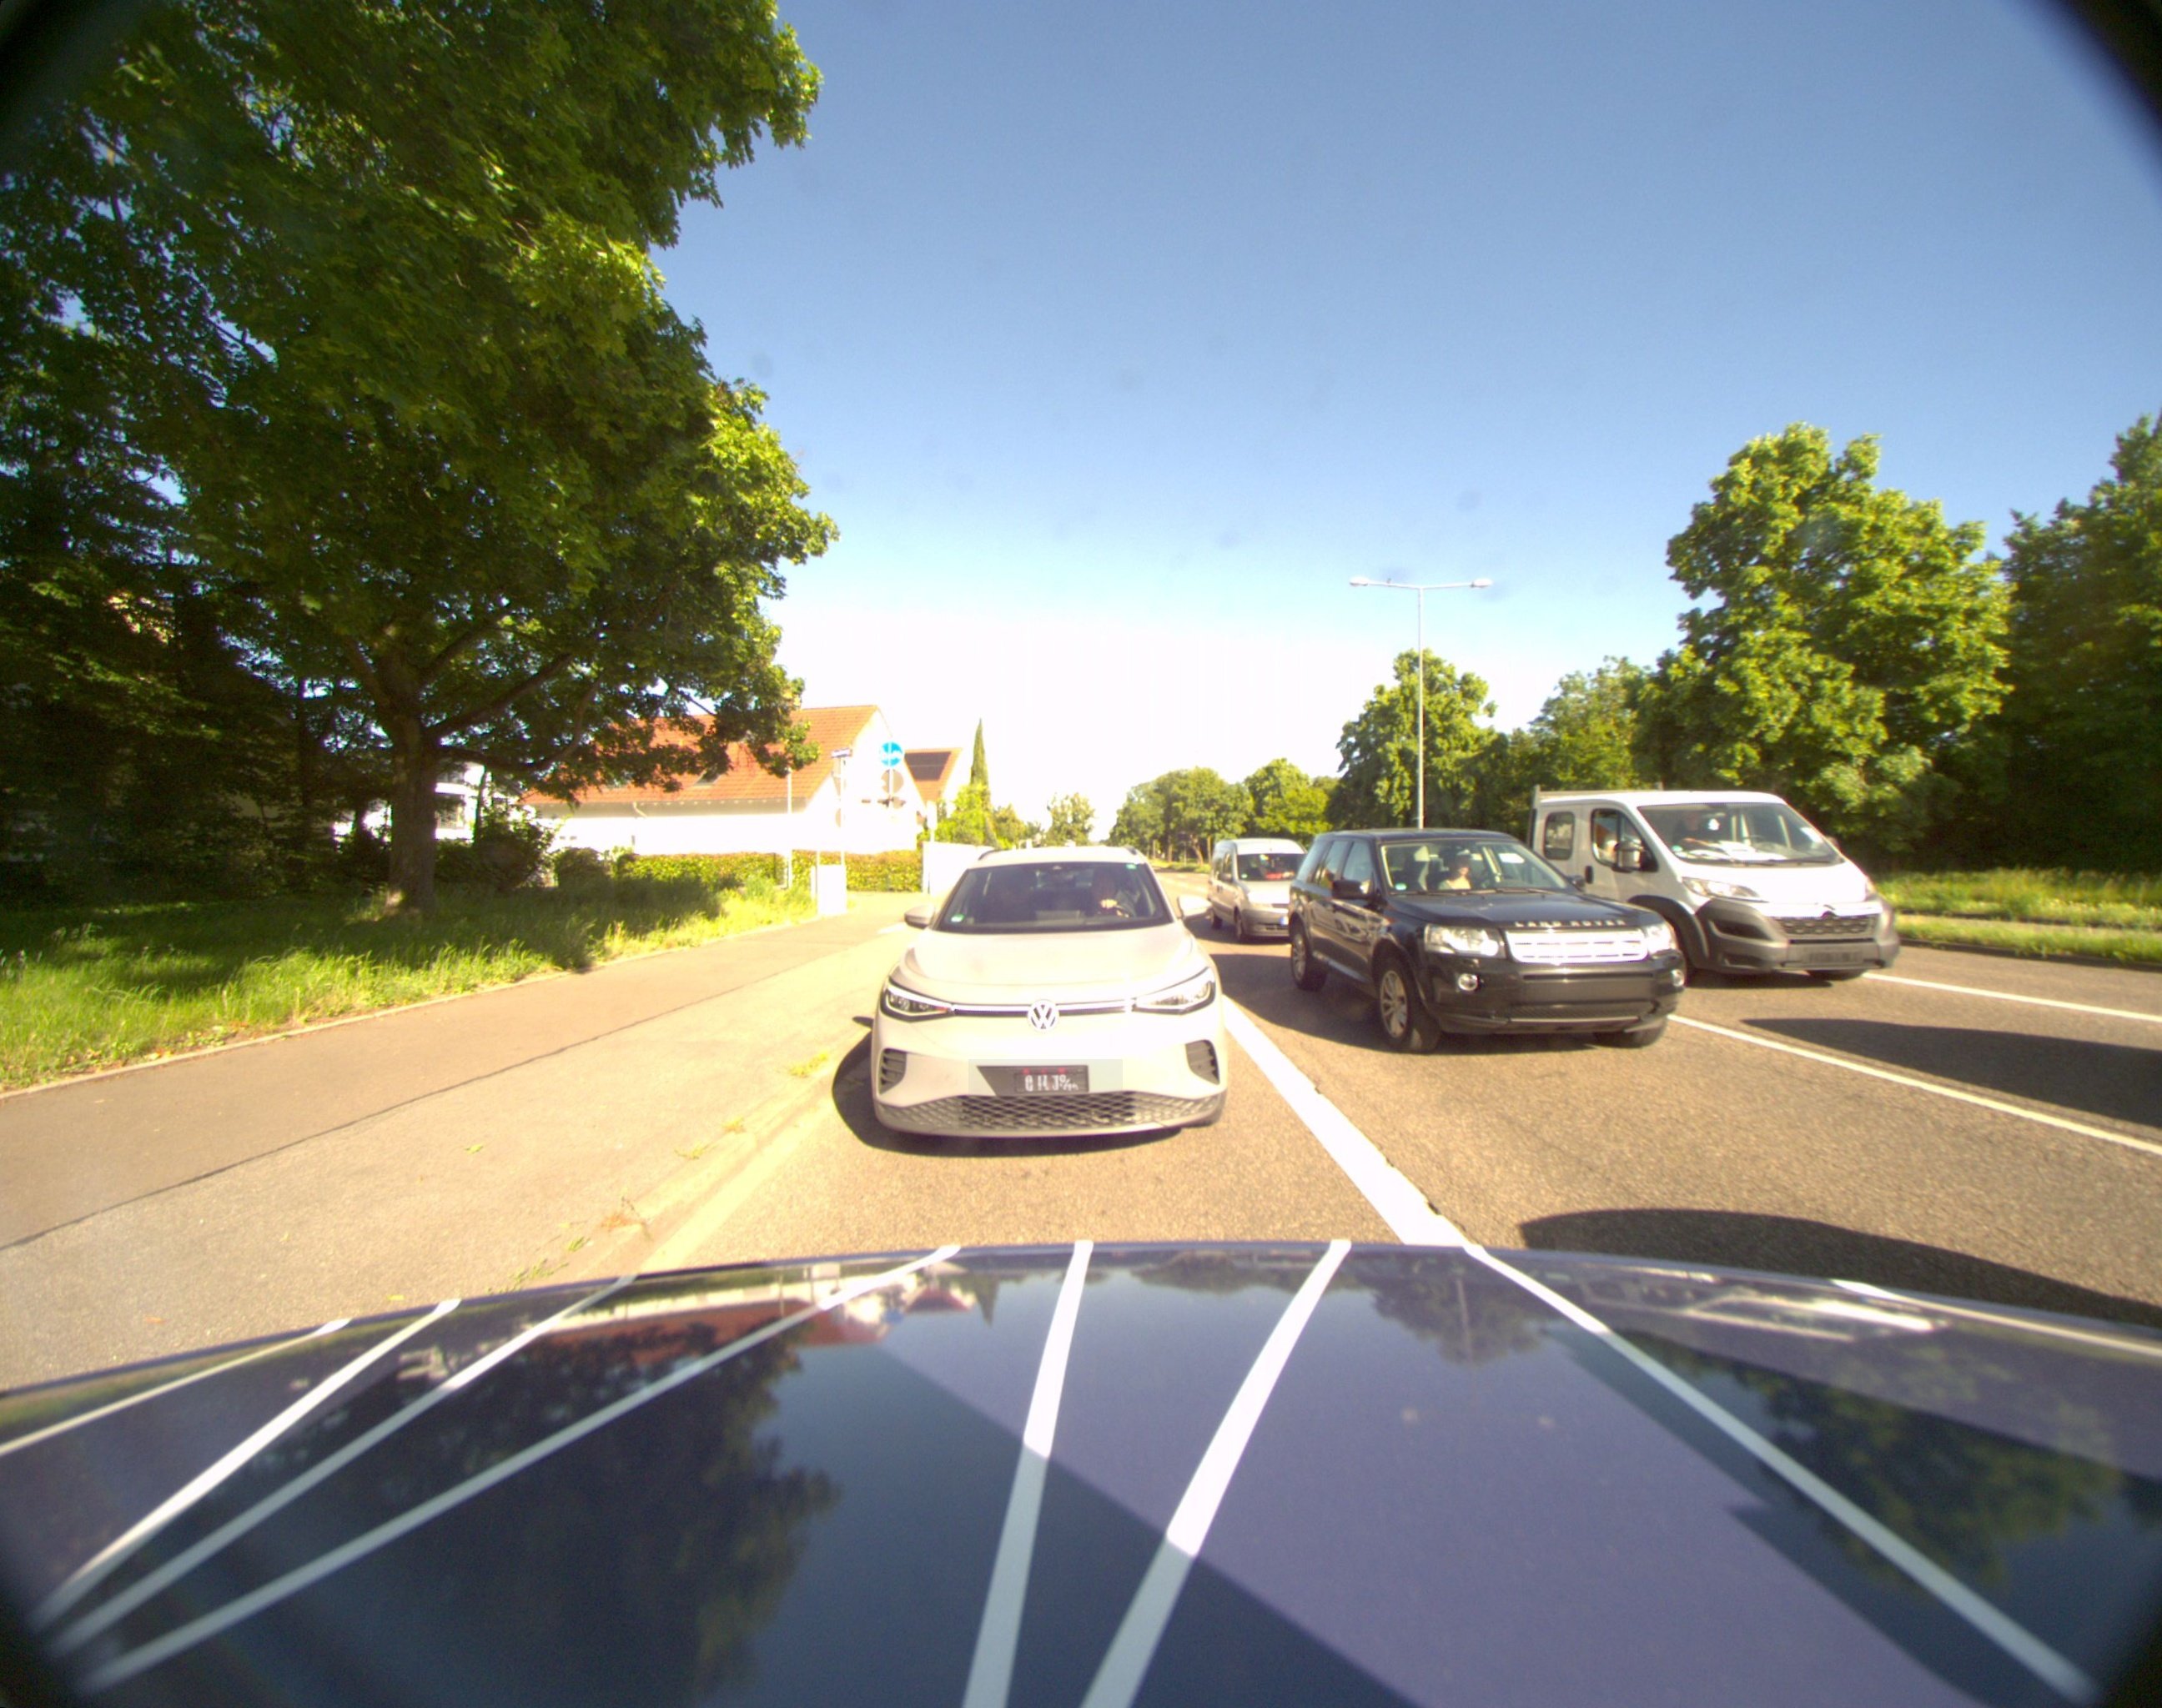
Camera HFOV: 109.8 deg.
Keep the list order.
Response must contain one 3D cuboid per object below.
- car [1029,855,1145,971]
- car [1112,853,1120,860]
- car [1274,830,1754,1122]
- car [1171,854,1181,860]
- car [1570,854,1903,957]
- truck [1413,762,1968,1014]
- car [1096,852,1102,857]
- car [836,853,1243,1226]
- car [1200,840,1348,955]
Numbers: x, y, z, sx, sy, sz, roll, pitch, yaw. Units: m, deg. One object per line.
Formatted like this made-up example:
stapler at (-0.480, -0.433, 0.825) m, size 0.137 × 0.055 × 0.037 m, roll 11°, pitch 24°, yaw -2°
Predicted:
car at (0.116, 0.866, 13.028) m, size 1.632 × 1.586 × 4.024 m, roll -2°, pitch 1°, yaw 1°
car at (8.444, 0.551, 181.829) m, size 1.704 × 1.466 × 3.931 m, roll -1°, pitch 0°, yaw 0°
car at (3.173, 0.715, 6.780) m, size 1.816 × 1.721 × 4.386 m, roll -2°, pitch 1°, yaw 1°
car at (20.723, 0.680, 166.020) m, size 1.792 × 1.409 × 4.000 m, roll 0°, pitch 0°, yaw 1°
car at (10.661, 0.728, 12.914) m, size 1.816 × 1.382 × 4.385 m, roll 1°, pitch 1°, yaw -1°
truck at (7.219, 0.284, 10.536) m, size 2.185 × 2.307 × 6.842 m, roll -2°, pitch 1°, yaw 0°
car at (5.358, 0.010, 225.143) m, size 1.704 × 1.466 × 3.931 m, roll 0°, pitch 0°, yaw 1°
car at (-0.163, 0.849, 5.585) m, size 1.858 × 1.679 × 4.206 m, roll 0°, pitch 1°, yaw 1°
car at (3.332, 0.653, 13.974) m, size 1.632 × 1.741 × 4.386 m, roll -2°, pitch 1°, yaw 1°
